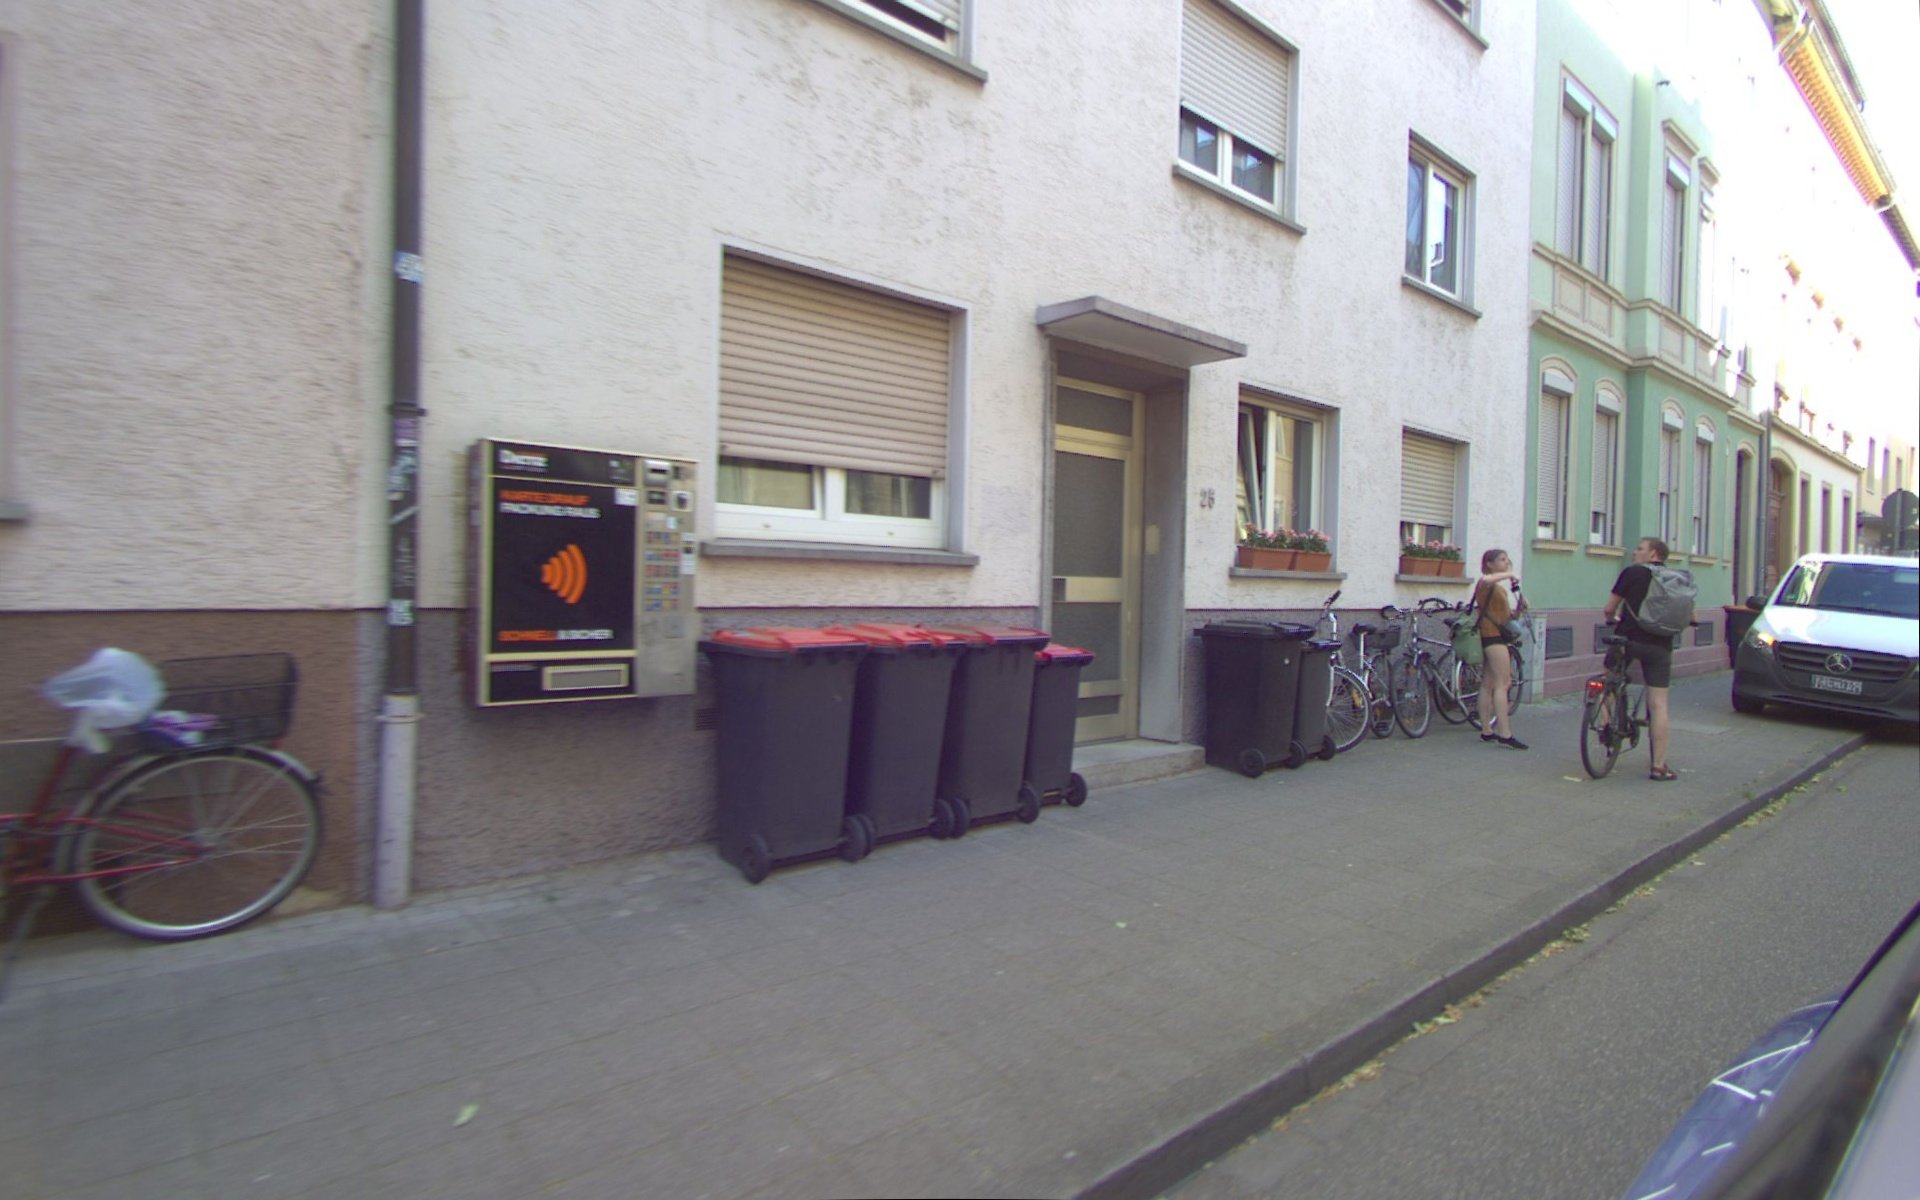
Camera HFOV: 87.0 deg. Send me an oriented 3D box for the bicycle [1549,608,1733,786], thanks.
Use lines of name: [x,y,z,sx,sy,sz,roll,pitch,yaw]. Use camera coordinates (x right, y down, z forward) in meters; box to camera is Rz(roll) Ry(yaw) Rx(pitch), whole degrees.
bicycle: [5.229,0.662,7.719,1.954,1.150,0.664,1,4,-43]

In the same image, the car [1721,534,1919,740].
car: [11.019,0.329,11.992,5.502,1.906,1.988,0,6,-41]

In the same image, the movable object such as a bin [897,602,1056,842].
movable object such as a bin: [0.082,0.595,5.345,0.559,1.136,0.629,-1,2,-39]

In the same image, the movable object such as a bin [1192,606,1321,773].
movable object such as a bin: [2.103,0.603,7.197,0.592,1.075,0.617,0,3,-41]

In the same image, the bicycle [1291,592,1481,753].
bicycle: [3.543,0.536,8.350,1.833,1.167,0.570,-1,2,-36]

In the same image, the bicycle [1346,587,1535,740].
bicycle: [4.342,0.505,9.062,2.223,1.221,0.439,-1,2,-34]

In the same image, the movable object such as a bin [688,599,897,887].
movable object such as a bin: [-0.773,0.586,4.596,0.628,1.110,0.741,-1,5,-39]

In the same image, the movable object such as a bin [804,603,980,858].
movable object such as a bin: [-0.342,0.590,4.992,0.582,1.119,0.658,0,2,-39]

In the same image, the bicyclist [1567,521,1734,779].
bicyclist: [5.189,0.333,7.611,0.808,1.792,0.761,1,3,-43]

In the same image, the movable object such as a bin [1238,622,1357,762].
movable object such as a bin: [2.537,0.664,7.611,0.597,0.935,0.578,0,4,-40]

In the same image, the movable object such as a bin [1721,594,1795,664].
movable object such as a bin: [13.342,0.463,16.927,0.661,1.101,0.815,-1,2,-38]

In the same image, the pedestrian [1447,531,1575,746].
pedestrian: [4.667,0.297,8.587,0.672,1.732,0.658,0,2,-28]

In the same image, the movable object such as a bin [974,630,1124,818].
movable object such as a bin: [0.508,0.672,5.806,0.594,0.946,0.607,0,2,-40]

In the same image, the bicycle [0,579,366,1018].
bicycle: [-2.930,0.553,2.898,2.040,1.184,0.538,0,6,-42]

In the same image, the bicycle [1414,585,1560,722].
bicycle: [5.253,0.475,10.018,2.120,1.221,0.406,-1,2,-38]
